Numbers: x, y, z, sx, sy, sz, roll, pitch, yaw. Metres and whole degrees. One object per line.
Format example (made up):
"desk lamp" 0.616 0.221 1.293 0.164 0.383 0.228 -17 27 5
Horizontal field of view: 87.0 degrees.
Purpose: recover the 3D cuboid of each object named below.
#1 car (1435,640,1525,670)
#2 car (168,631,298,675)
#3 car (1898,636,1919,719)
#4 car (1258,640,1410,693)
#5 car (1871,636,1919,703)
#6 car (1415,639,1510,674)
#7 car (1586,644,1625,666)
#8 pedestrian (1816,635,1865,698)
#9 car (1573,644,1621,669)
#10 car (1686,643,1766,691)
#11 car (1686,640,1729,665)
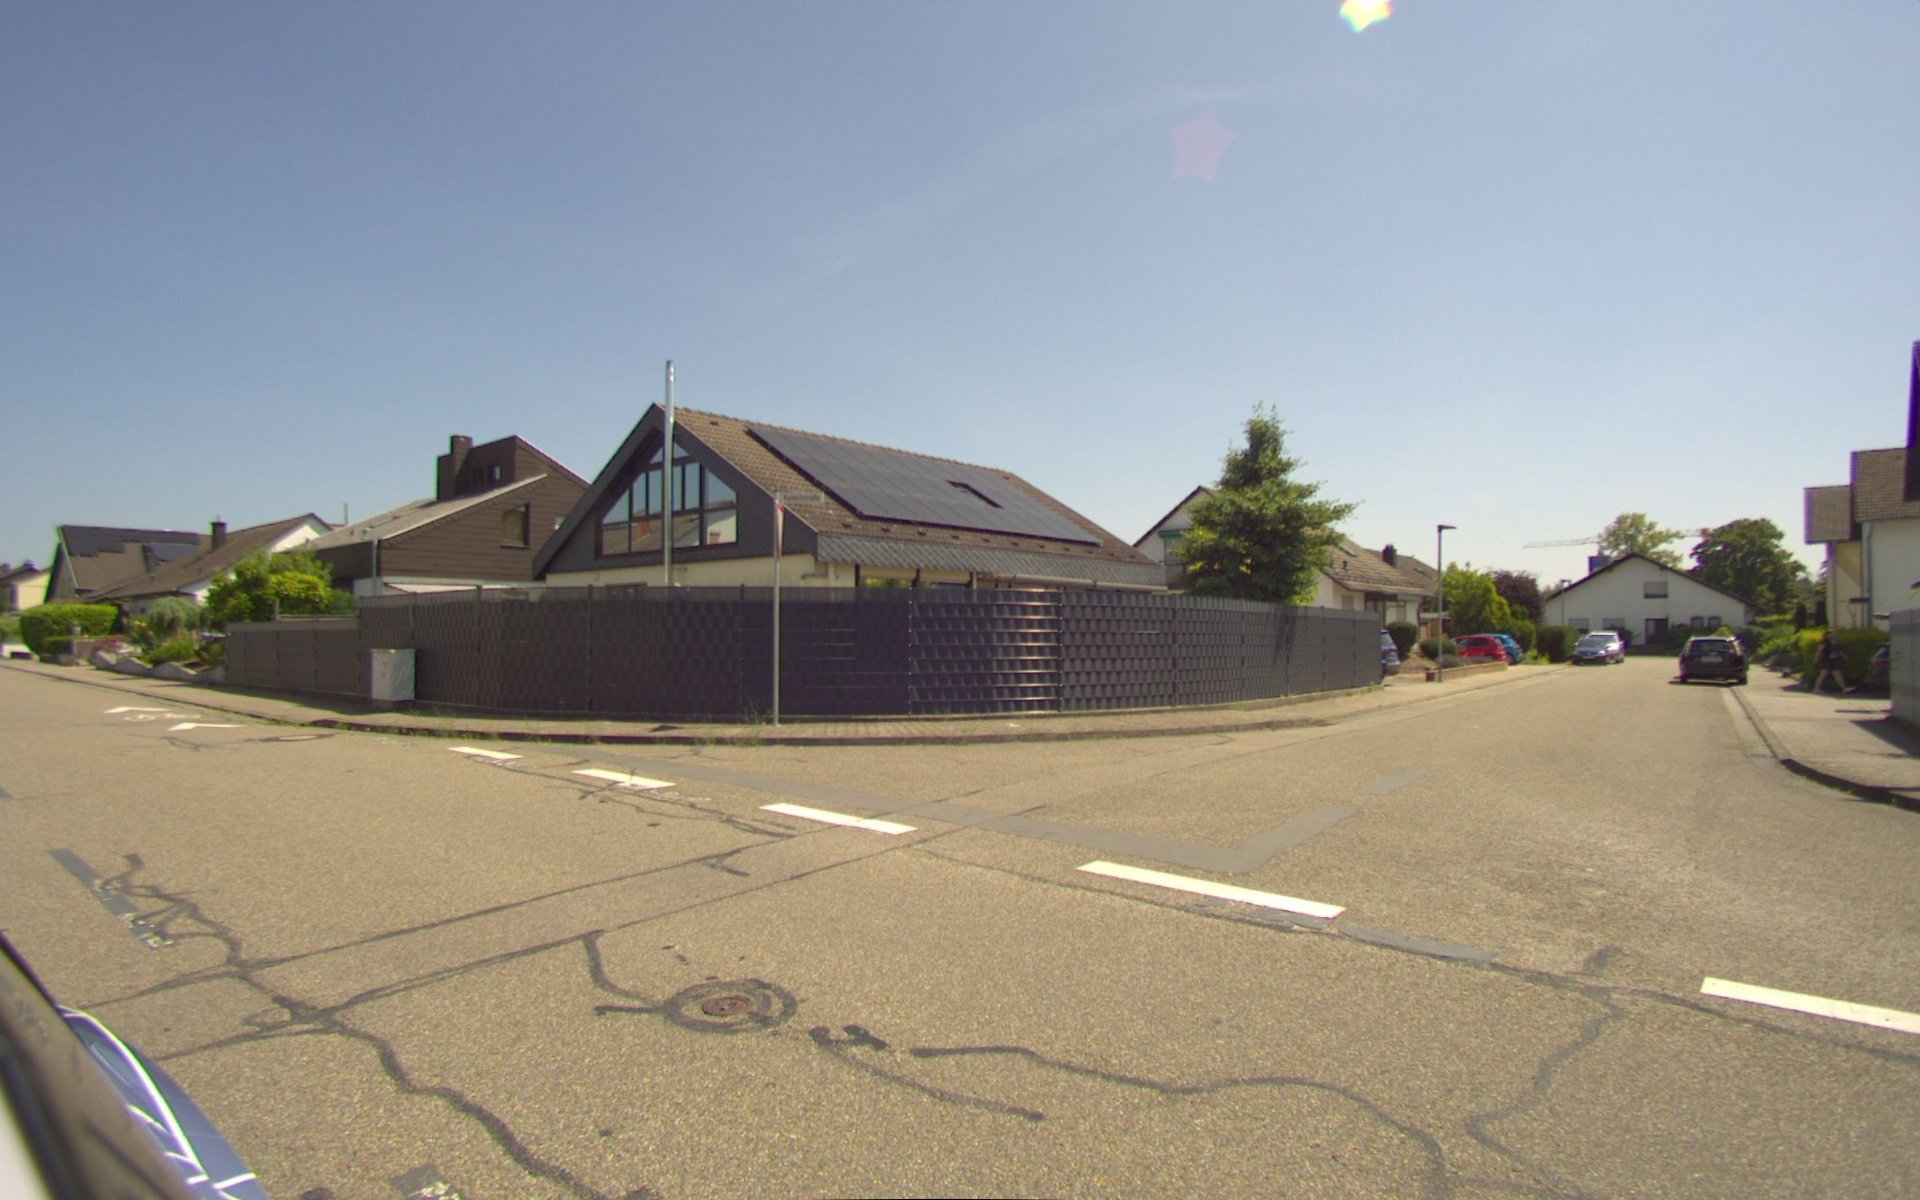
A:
"car" 26.451 2.775 51.528 3.909 1.497 1.659 -1 -3 35
"car" -29.506 2.129 41.164 1.900 1.697 3.948 -2 -3 39
"car" 20.569 1.488 19.164 3.997 1.608 1.749 -2 -3 41
"car" 10.950 1.899 29.714 3.867 1.457 1.738 -1 -3 35
"car" 24.591 1.672 24.247 3.997 1.608 1.749 -2 -3 40
"car" 24.606 2.734 49.554 3.951 1.599 1.738 -1 -3 35
"car" 36.501 3.103 57.216 1.496 1.179 3.386 -2 -3 39
"pedestrian" 23.518 1.767 27.039 0.654 1.639 0.865 2 -3 -40
"car" 33.953 2.983 53.913 1.704 1.254 3.904 -2 -3 39
"car" 24.706 2.119 32.604 1.772 1.424 3.945 -2 -3 41
"car" 45.081 3.161 60.991 1.772 1.424 3.945 -2 -3 41
